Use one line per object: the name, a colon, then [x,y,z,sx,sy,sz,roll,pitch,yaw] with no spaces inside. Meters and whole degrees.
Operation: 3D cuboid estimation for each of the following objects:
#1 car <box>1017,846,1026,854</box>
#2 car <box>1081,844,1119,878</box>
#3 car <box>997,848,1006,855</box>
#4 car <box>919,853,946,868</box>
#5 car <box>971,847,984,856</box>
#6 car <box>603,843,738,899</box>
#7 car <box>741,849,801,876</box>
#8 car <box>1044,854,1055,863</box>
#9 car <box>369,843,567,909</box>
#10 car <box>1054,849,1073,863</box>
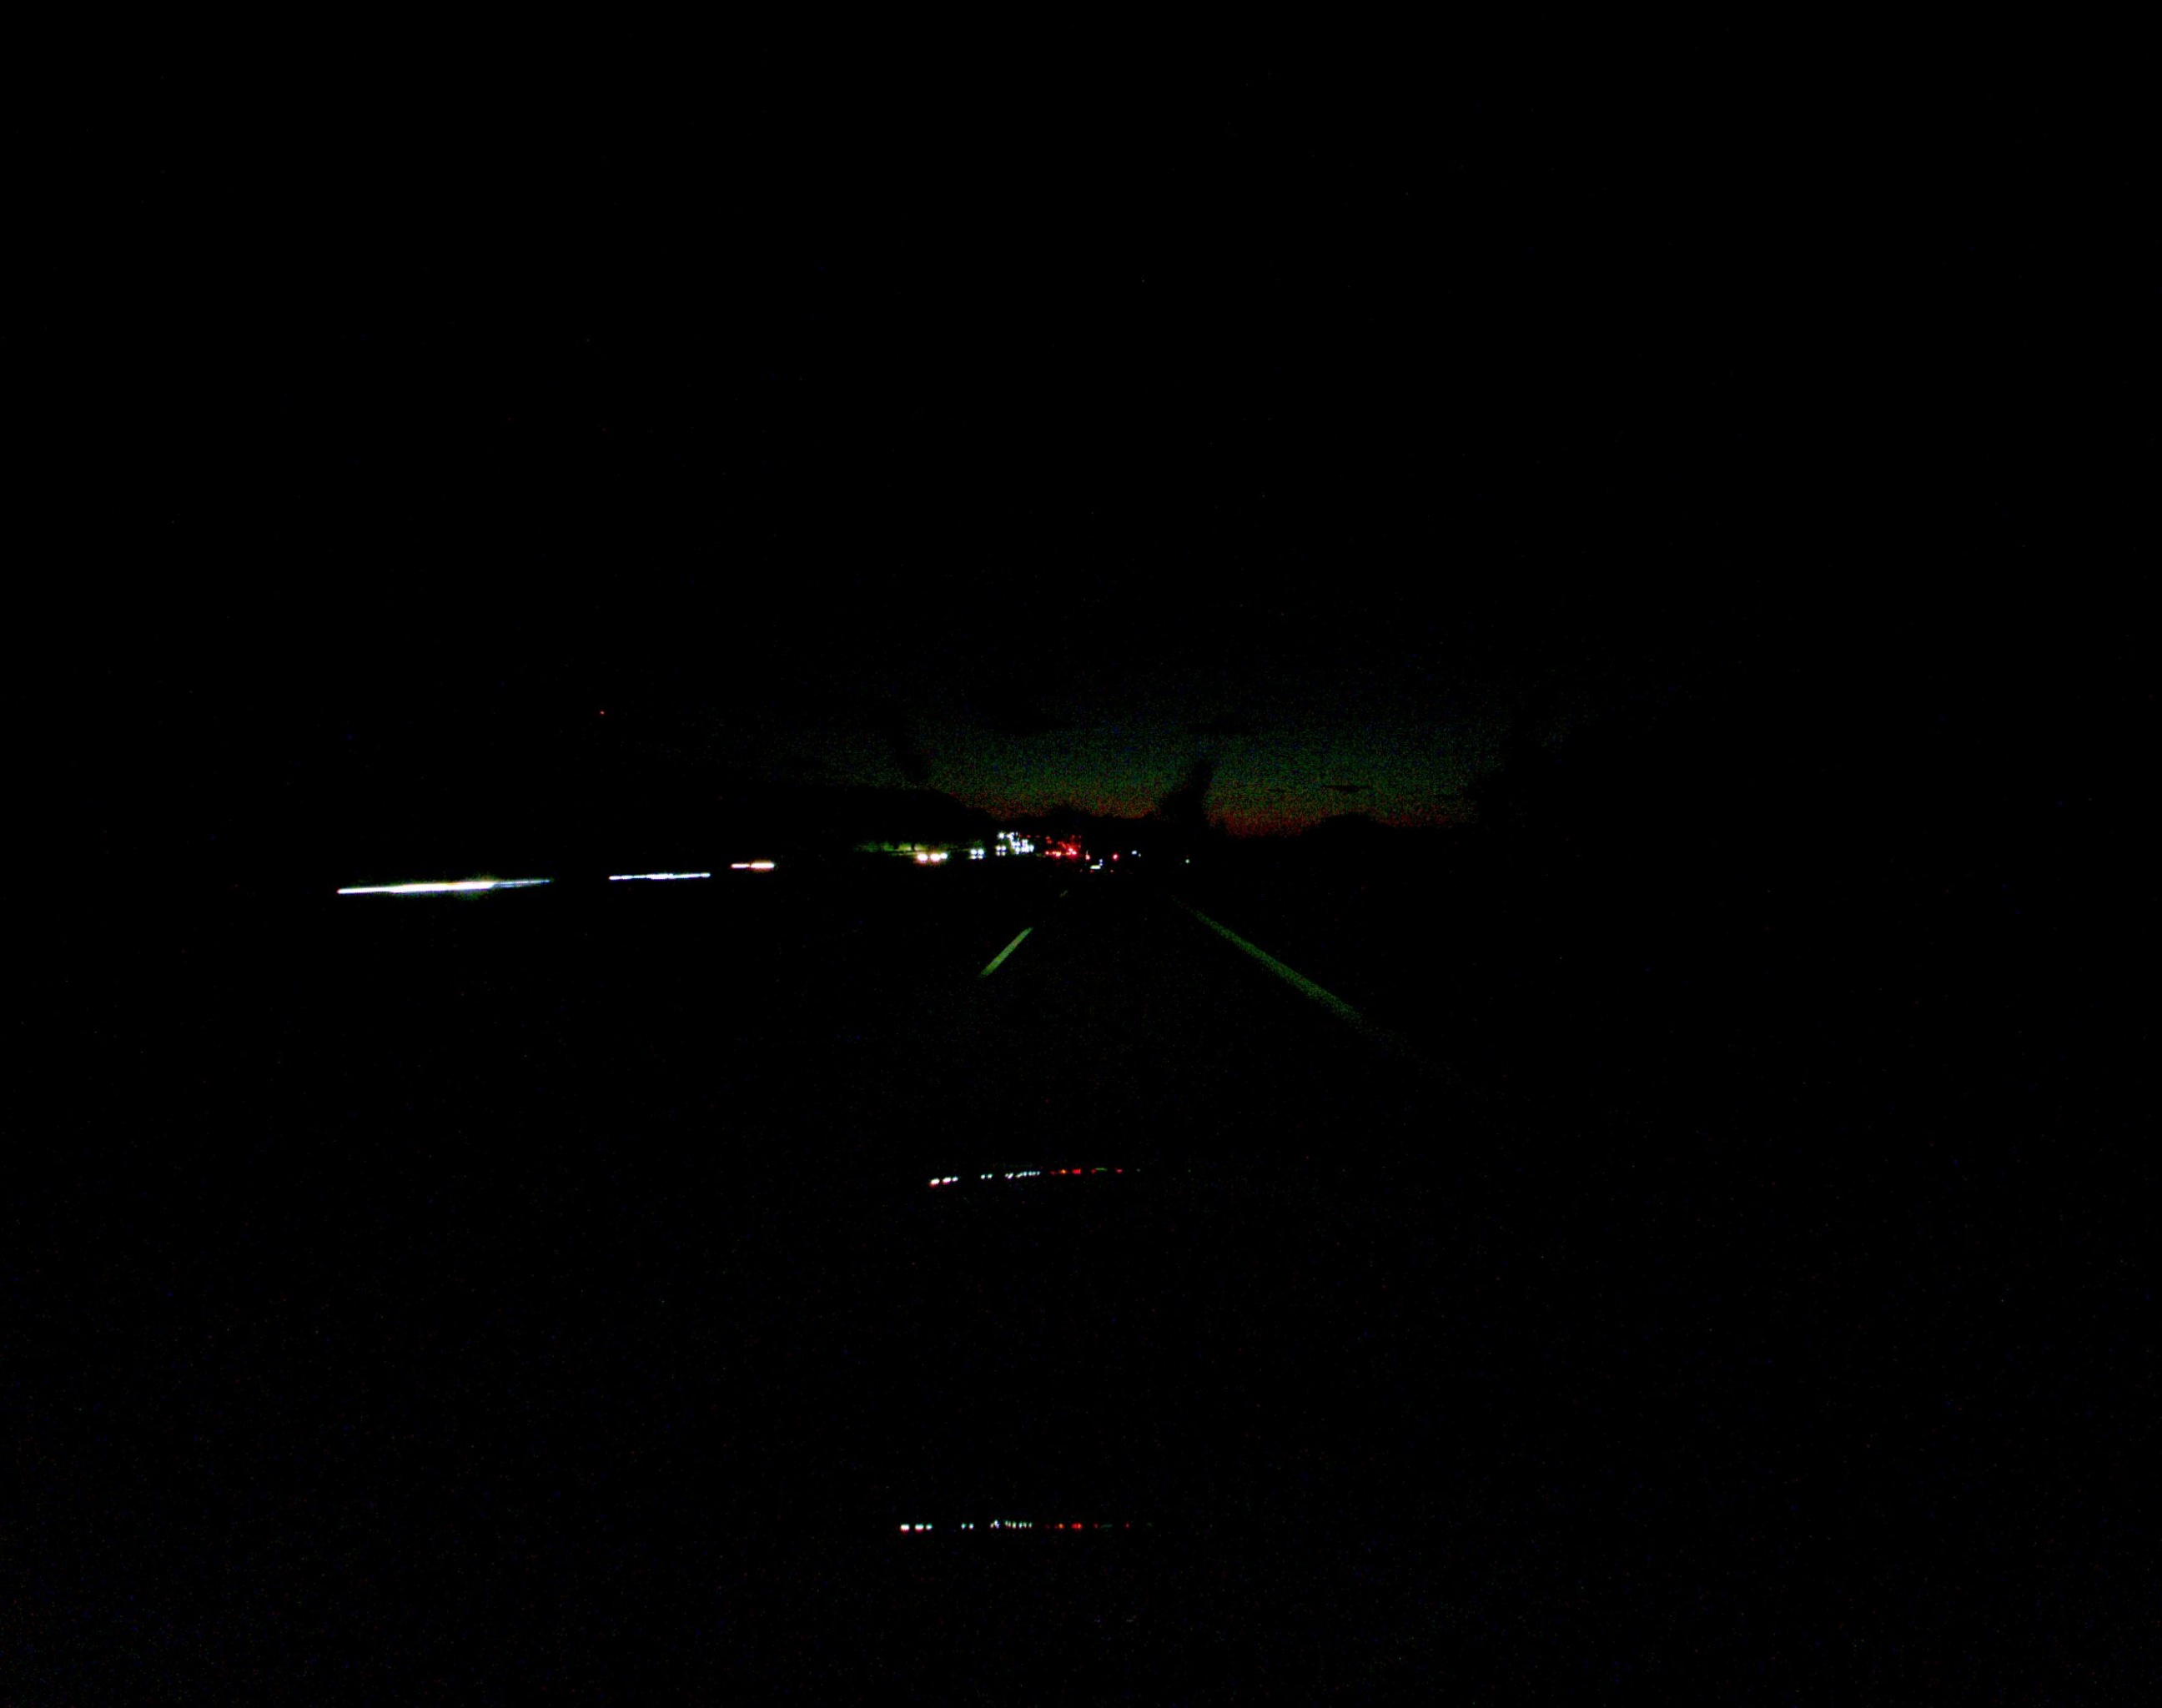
car: [-15.045,-1.033,206.616,2.098,1.789,4.649,0,-1,-1]
car: [1.134,0.417,50.507,2.189,1.955,4.762,-1,0,0]
car: [-21.903,-0.675,225.135,2.097,1.789,4.650,0,-1,0]
car: [-17.410,0.768,95.658,2.096,1.789,4.653,0,-1,2]
car: [-21.017,-0.495,165.839,2.097,1.789,4.651,0,-1,0]
car: [-14.178,0.533,28.504,2.096,1.789,4.872,0,0,2]
car: [-21.442,0.570,56.552,2.096,1.789,4.872,0,-1,2]
car: [-5.532,0.781,144.541,1.544,1.431,5.516,-1,-1,2]
car: [-18.039,0.576,24.346,2.096,1.789,4.872,0,0,2]
car: [-2.331,0.272,109.793,1.985,1.721,5.947,-1,-1,4]
